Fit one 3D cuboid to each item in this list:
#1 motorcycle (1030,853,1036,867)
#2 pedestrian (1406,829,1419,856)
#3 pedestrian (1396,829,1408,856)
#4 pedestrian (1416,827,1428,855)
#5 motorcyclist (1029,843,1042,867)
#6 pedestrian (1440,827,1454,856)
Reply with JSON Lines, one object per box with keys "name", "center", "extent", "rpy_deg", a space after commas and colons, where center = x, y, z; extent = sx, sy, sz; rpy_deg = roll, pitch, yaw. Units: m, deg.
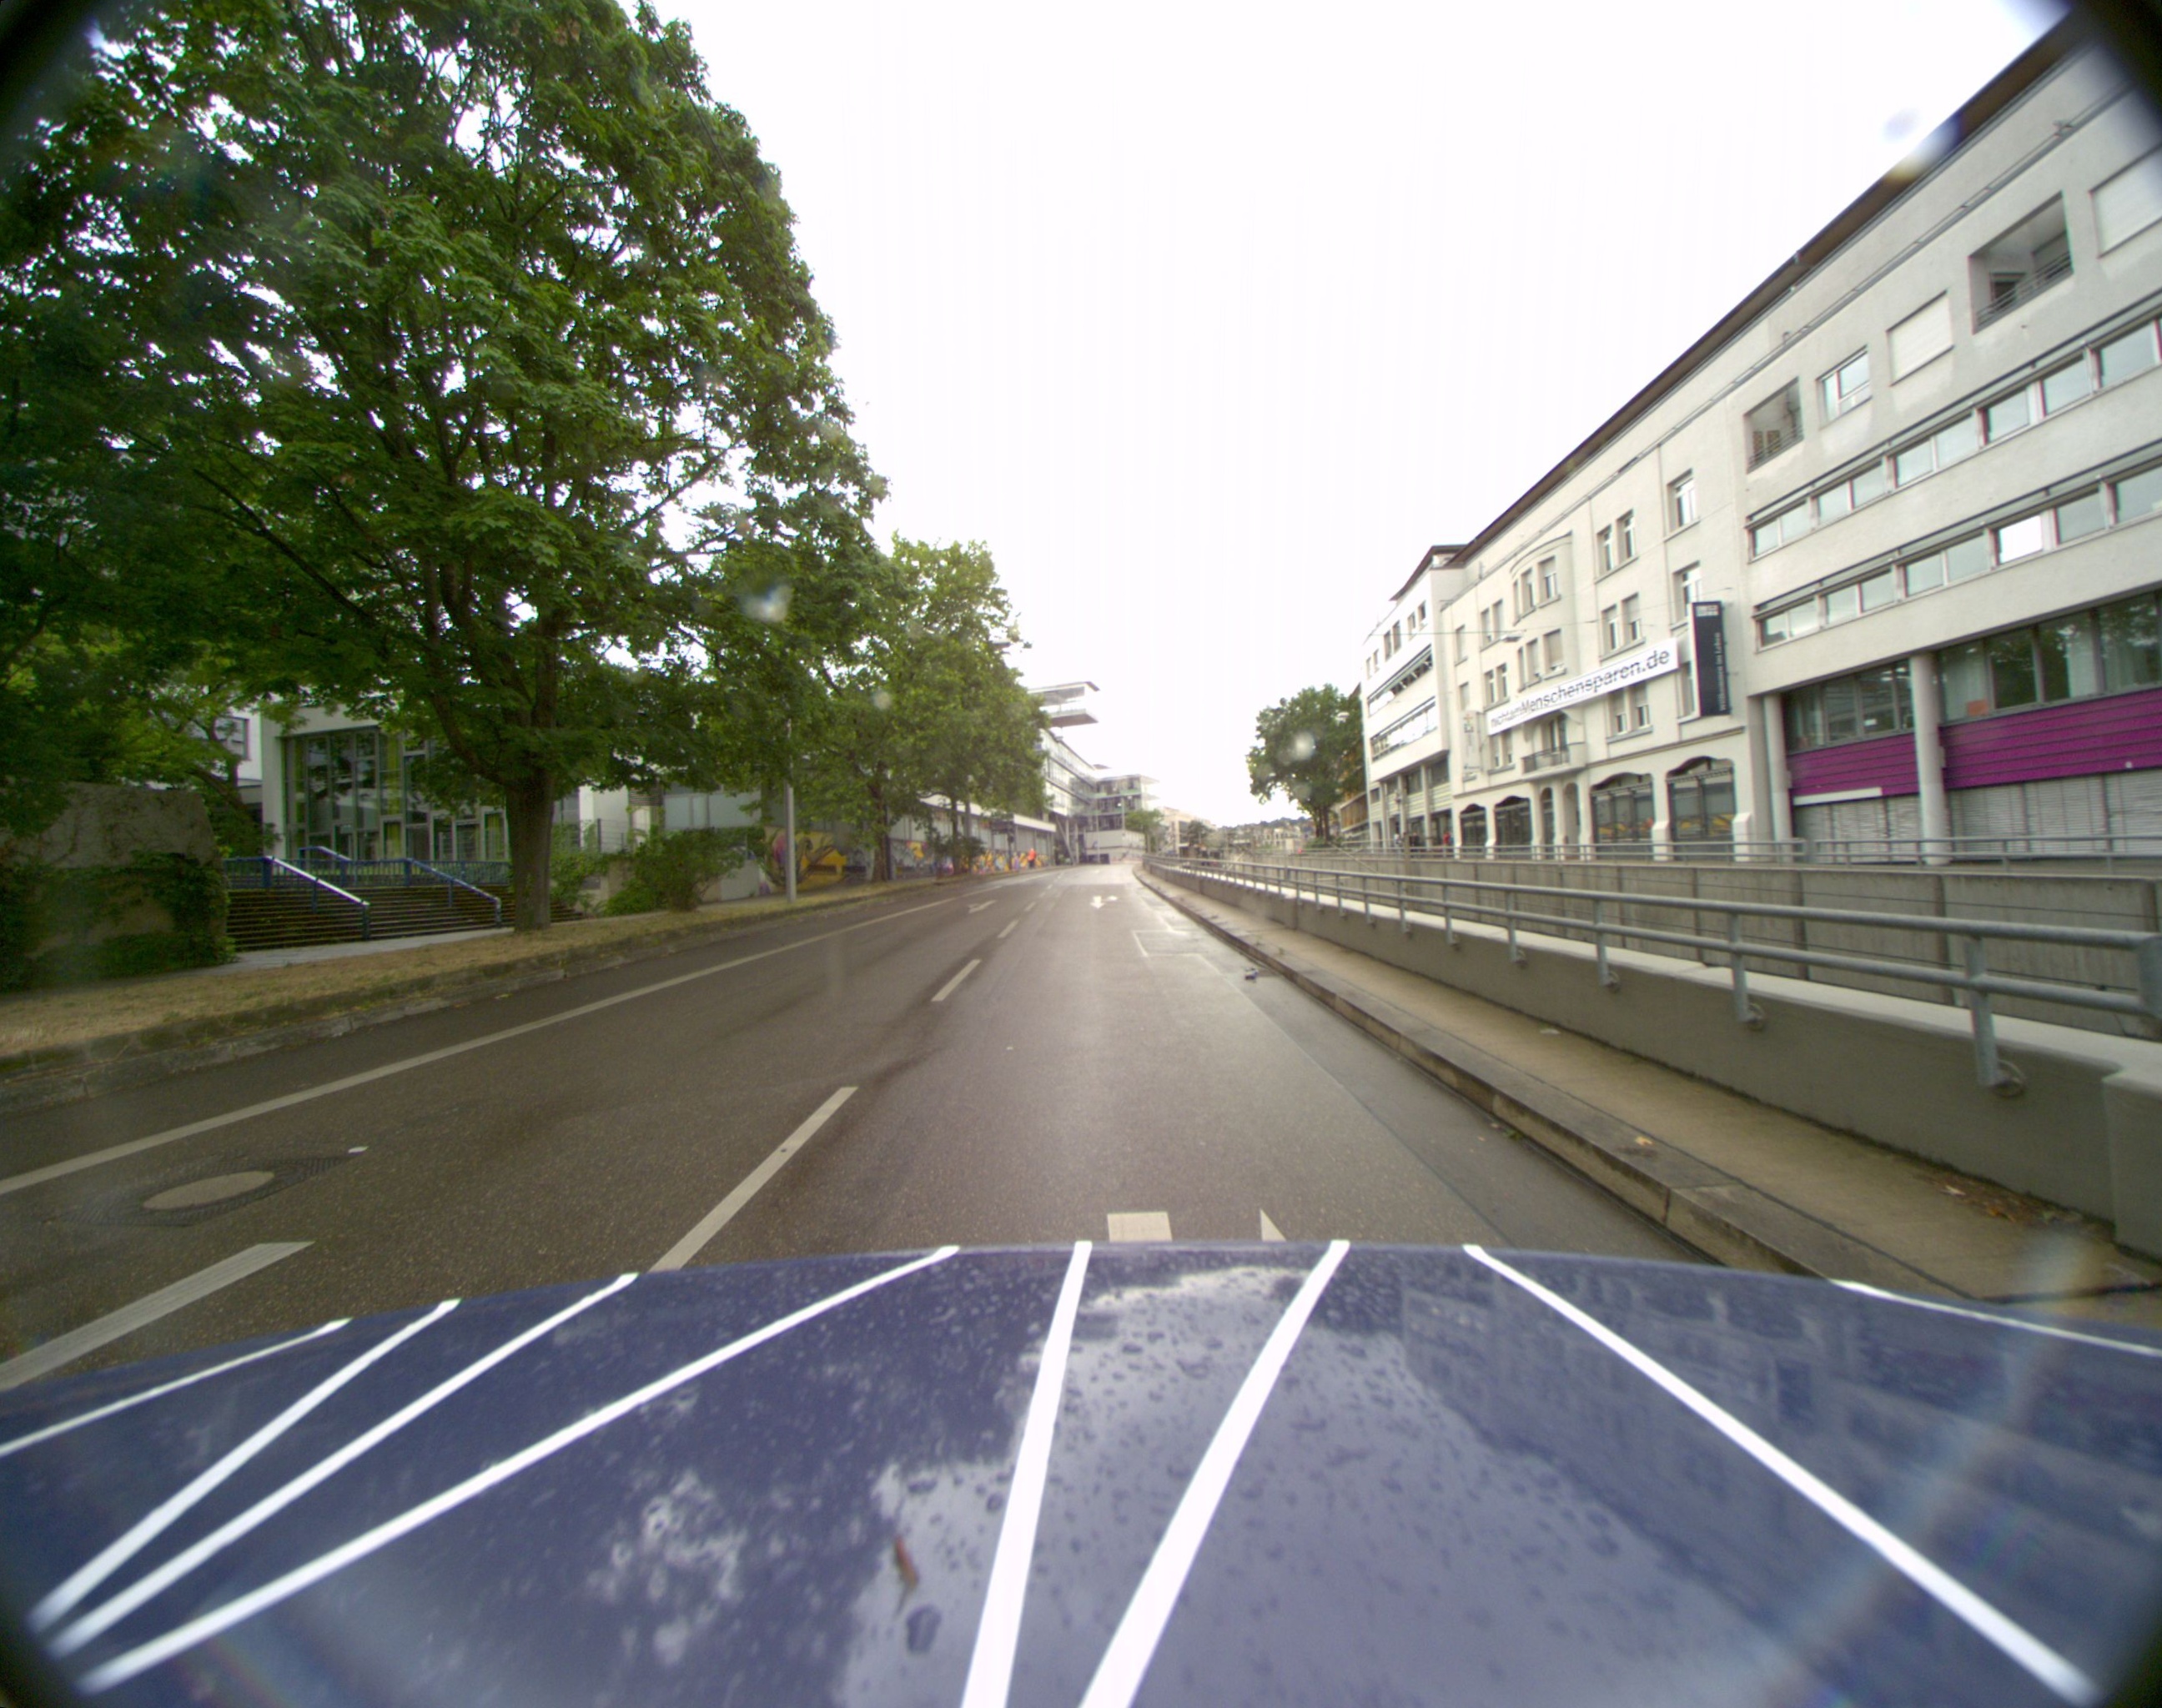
{"name": "motorcycle", "center": [-4.160, 0.496, 65.764], "extent": [0.470, 1.218, 1.019], "rpy_deg": [-4, 0, -2]}
{"name": "pedestrian", "center": [22.480, -0.773, 51.567], "extent": [0.547, 1.792, 0.470], "rpy_deg": [-4, 1, -7]}
{"name": "pedestrian", "center": [21.691, -0.800, 51.352], "extent": [0.469, 1.792, 0.548], "rpy_deg": [-4, 1, 8]}
{"name": "pedestrian", "center": [22.571, -0.849, 50.305], "extent": [0.470, 1.792, 0.547], "rpy_deg": [-4, 1, 3]}
{"name": "motorcyclist", "center": [-3.960, 0.099, 65.892], "extent": [0.754, 2.002, 1.002], "rpy_deg": [-4, 1, 9]}
{"name": "pedestrian", "center": [22.825, -0.793, 47.366], "extent": [0.470, 1.792, 0.547], "rpy_deg": [-4, 1, 0]}
